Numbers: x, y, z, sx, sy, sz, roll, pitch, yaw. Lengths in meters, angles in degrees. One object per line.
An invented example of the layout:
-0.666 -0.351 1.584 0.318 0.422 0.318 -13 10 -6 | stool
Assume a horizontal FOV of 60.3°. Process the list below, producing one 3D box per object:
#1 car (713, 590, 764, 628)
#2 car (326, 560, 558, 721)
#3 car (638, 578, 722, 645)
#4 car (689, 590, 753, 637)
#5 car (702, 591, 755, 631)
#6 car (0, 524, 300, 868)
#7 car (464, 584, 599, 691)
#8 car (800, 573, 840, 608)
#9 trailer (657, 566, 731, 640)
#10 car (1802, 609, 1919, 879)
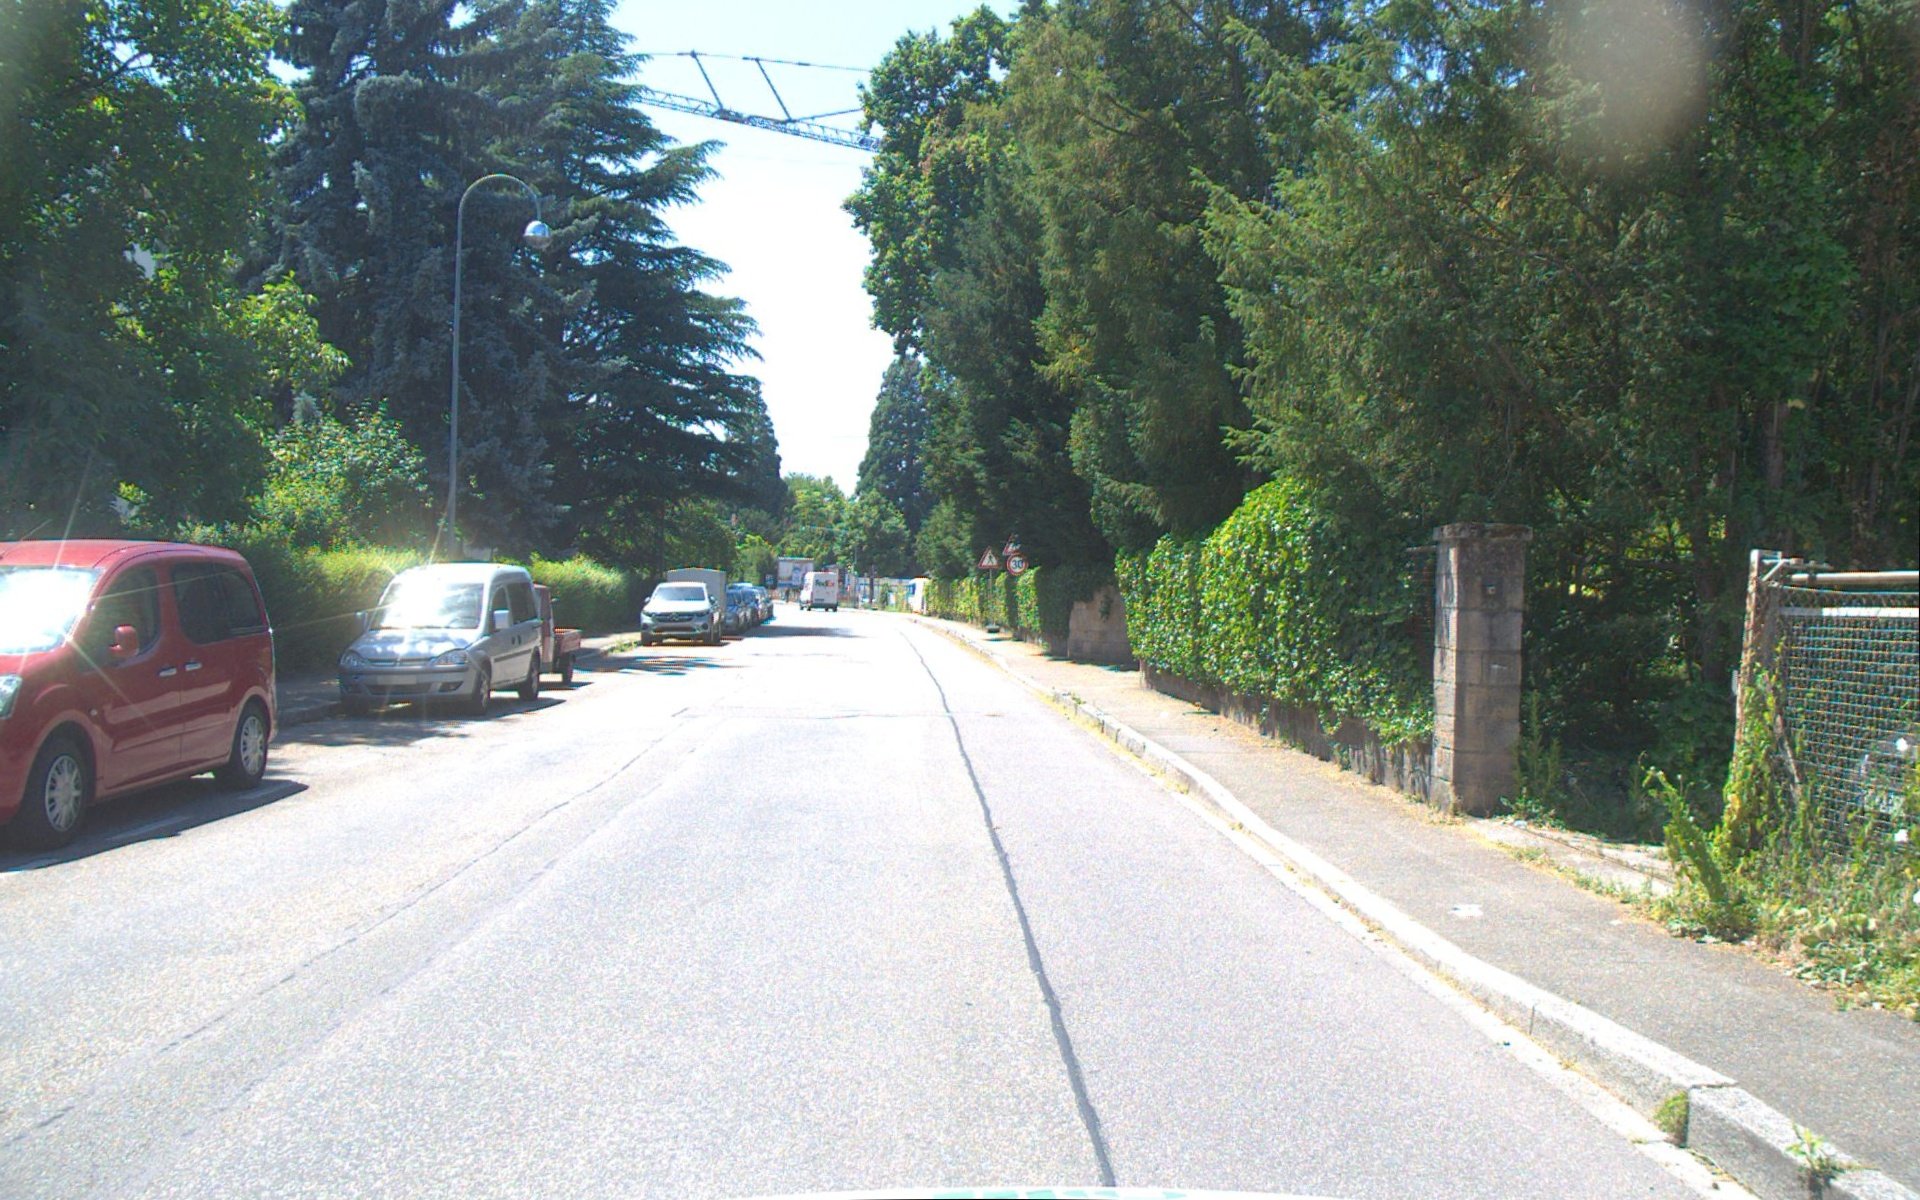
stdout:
-8.844 0.352 66.256 1.654 1.470 4.133 0 0 -3 | car
-6.297 0.445 20.597 1.614 1.782 4.353 0 0 -1 | car
-7.497 0.288 44.651 1.814 1.700 4.708 -1 0 -5 | car
-7.893 0.434 55.019 1.675 1.464 4.320 -1 0 -3 | car
-8.501 0.382 61.041 1.551 1.414 3.881 1 0 -3 | car
-5.851 0.485 10.436 1.722 1.757 4.456 0 0 -2 | car
-6.554 0.534 25.529 1.383 1.529 2.839 -1 0 -1 | car
-9.509 -0.657 111.859 2.106 2.356 4.838 0 0 -12 | car
-7.852 0.087 49.080 1.811 2.076 4.159 -1 0 -5 | trailer
6.949 0.826 9.022 3.782 1.404 1.766 2 0 1 | car
